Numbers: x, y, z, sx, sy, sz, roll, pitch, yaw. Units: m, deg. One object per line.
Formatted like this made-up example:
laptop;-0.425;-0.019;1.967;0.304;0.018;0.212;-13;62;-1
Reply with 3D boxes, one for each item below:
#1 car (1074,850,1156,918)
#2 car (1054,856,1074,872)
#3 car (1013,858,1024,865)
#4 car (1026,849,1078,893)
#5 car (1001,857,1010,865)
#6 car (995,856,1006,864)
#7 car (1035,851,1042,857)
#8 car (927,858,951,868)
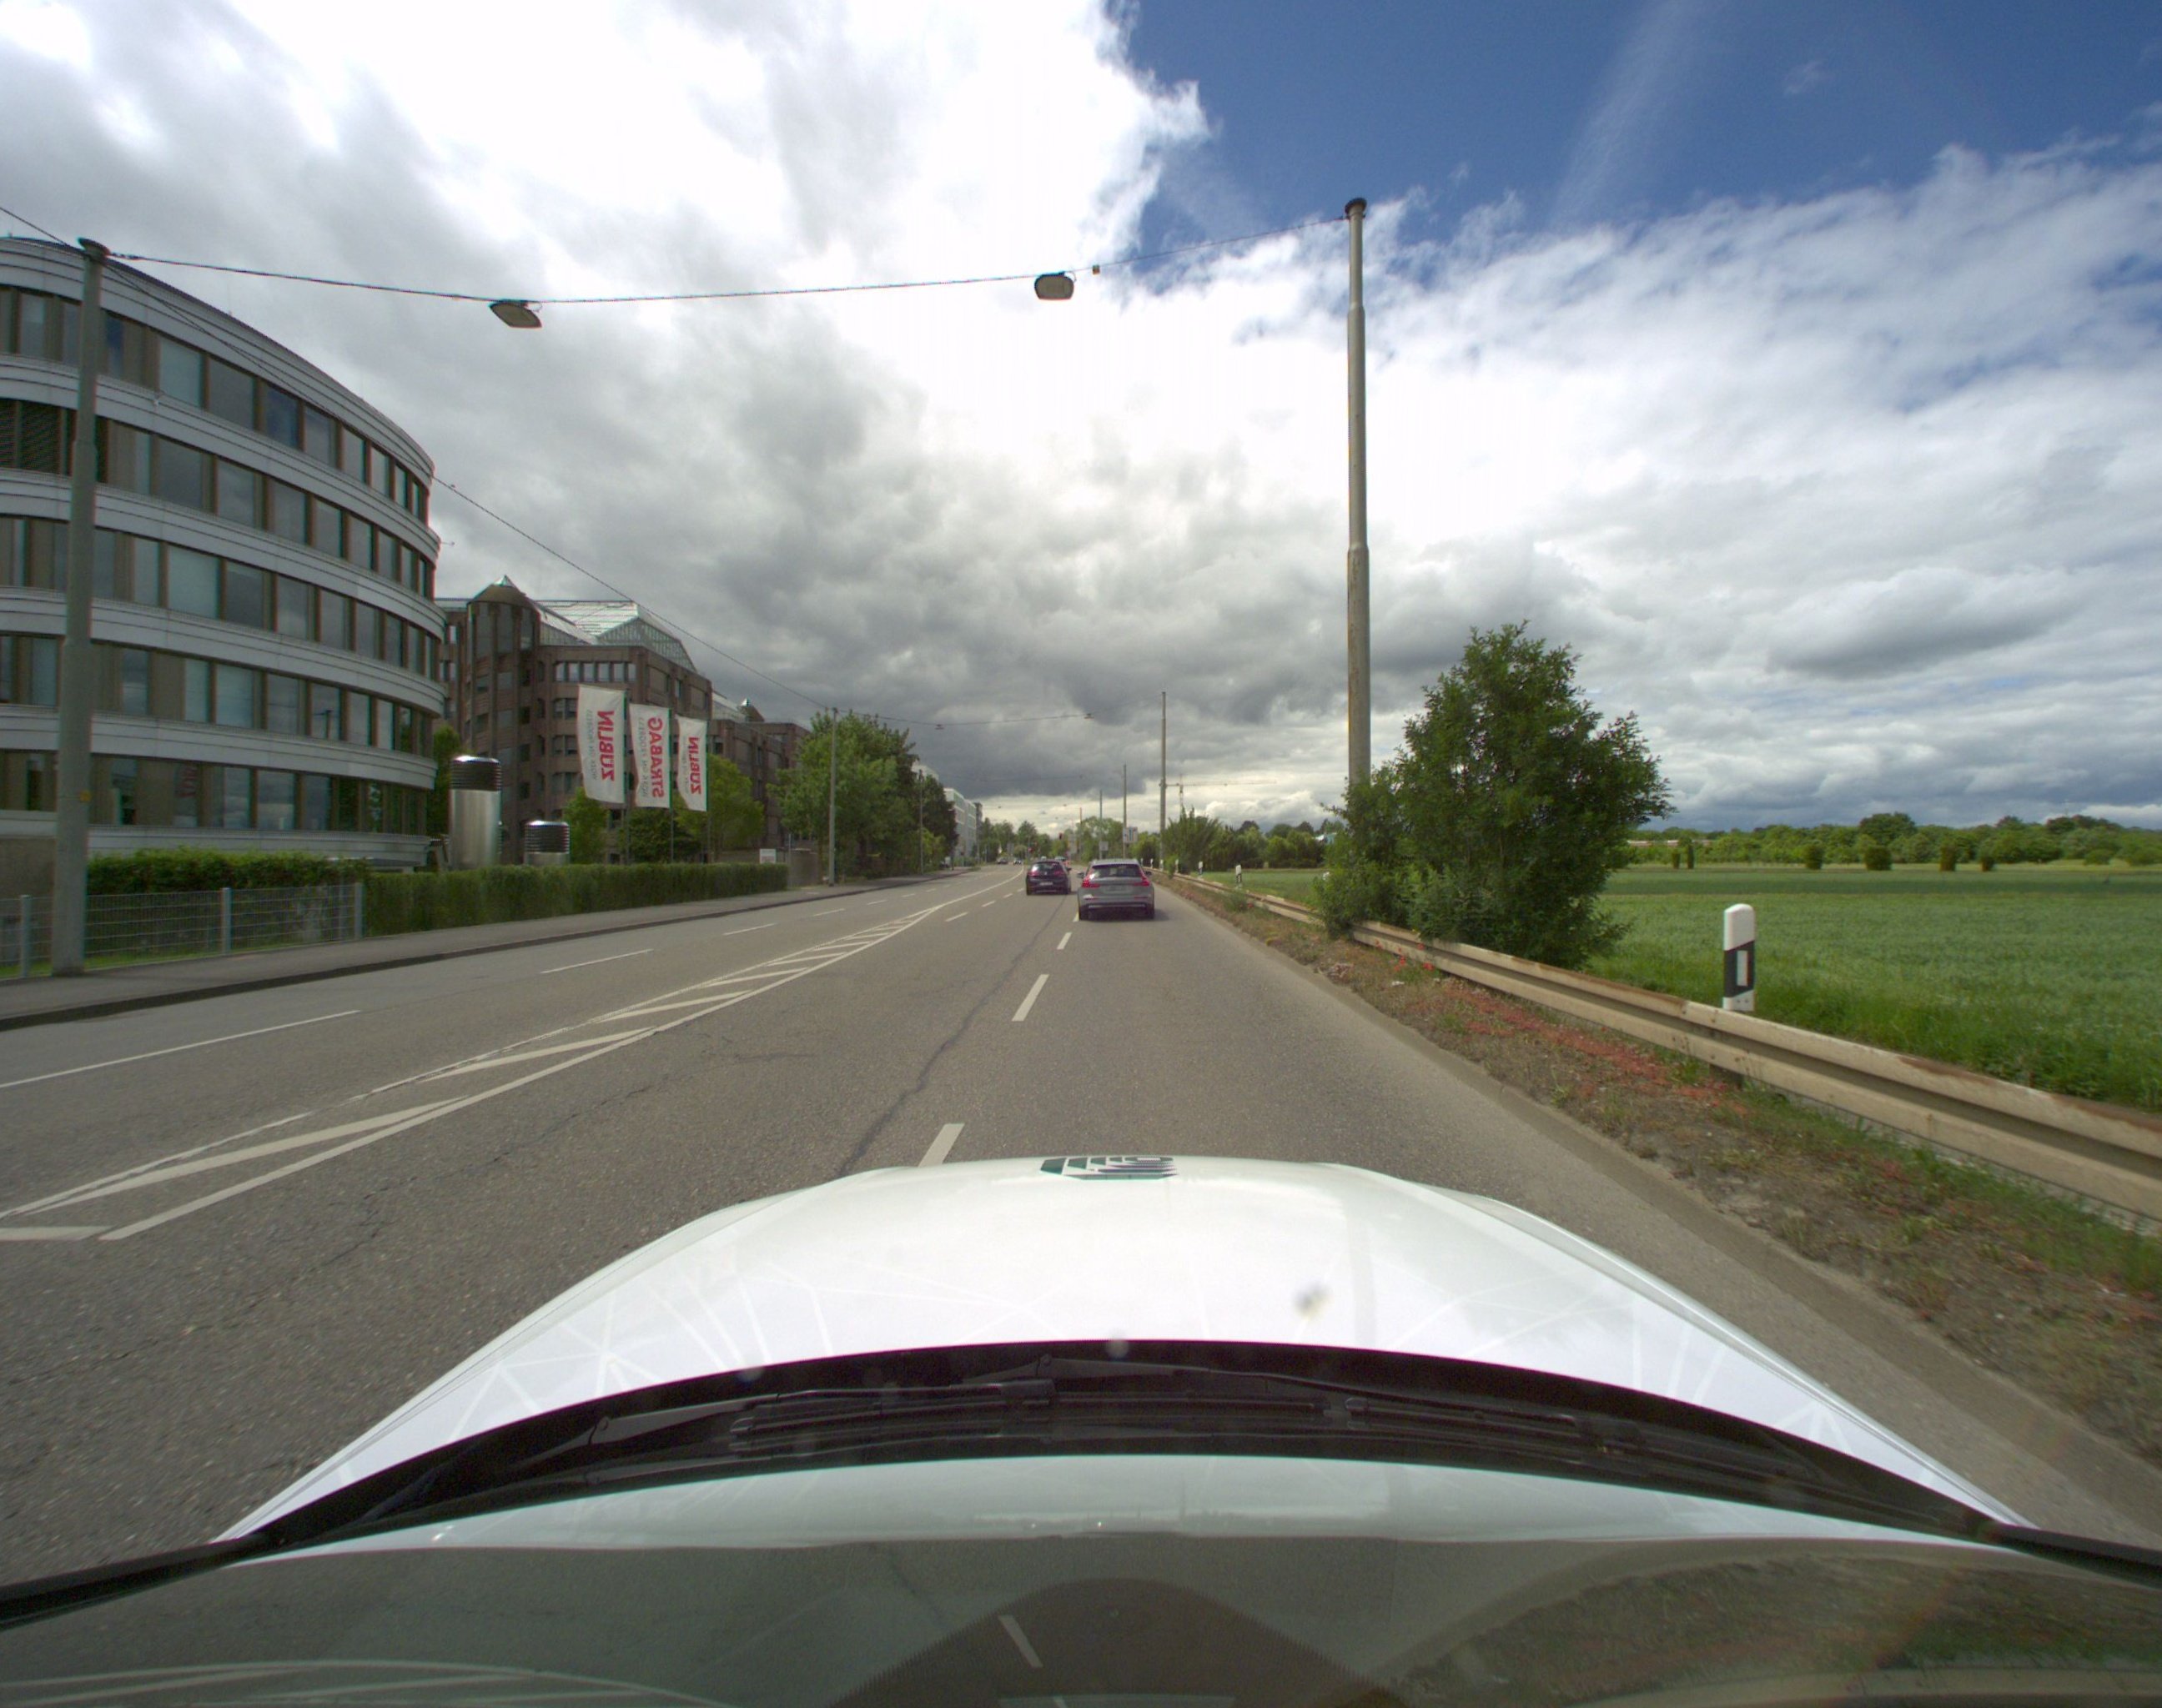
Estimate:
car;0.898;0.737;20.877;1.887;1.554;4.003;0;-1;3
car;-1.955;1.188;93.917;1.986;1.695;4.001;2;-1;2
car;-13.640;1.588;177.363;1.875;1.520;4.000;2;-1;0
car;-1.145;0.713;34.395;1.987;1.717;3.999;2;-1;0
car;-18.109;1.669;195.193;1.875;1.717;4.000;2;-1;0
car;-17.726;1.397;179.303;1.875;1.717;4.000;2;-1;0
car;-12.109;0.056;234.125;1.944;1.750;4.384;2;-1;-3
car;-25.459;1.587;145.953;3.973;1.722;2.000;2;-1;0
